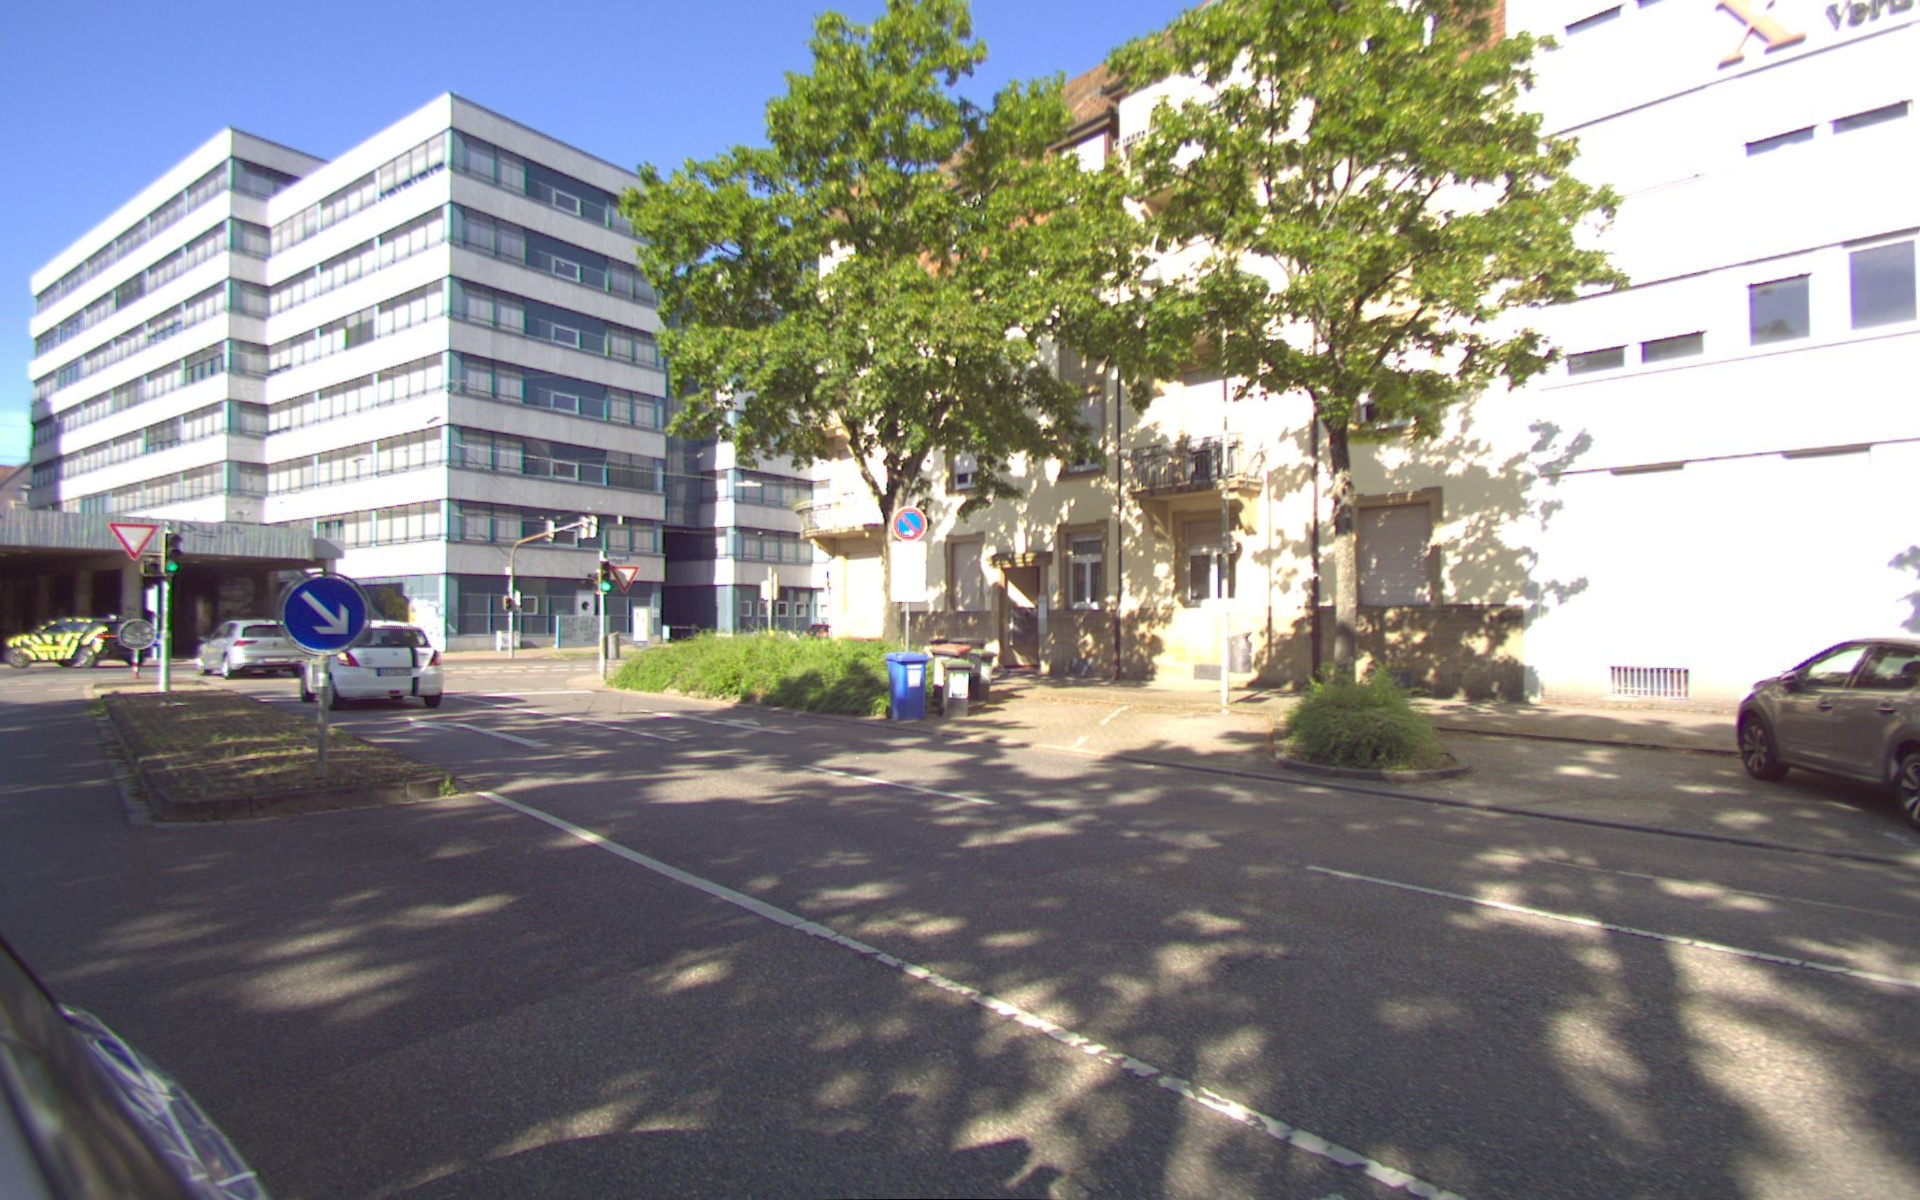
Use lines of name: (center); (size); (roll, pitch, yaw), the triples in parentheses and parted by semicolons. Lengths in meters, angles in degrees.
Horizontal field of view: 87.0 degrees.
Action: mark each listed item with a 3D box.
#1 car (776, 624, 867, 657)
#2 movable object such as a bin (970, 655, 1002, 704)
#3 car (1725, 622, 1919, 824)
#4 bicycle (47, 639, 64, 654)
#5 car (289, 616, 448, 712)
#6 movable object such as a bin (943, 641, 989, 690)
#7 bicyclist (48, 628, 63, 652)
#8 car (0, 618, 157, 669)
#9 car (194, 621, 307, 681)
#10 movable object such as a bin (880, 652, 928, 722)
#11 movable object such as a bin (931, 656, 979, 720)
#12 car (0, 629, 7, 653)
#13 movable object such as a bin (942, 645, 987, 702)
car: (-6.393, 1.897, 47.170); (1.803, 1.462, 4.274); (-1, -2, 35)
movable object such as a bin: (0.474, 1.452, 18.546); (0.398, 0.860, 0.440); (0, -1, -33)
car: (8.461, 0.960, 8.559); (1.811, 1.521, 3.867); (0, -1, 15)
bicycle: (-64.631, 3.308, 72.295); (1.856, 1.098, 0.521); (-2, -2, 36)
car: (-10.664, 1.107, 18.129); (1.684, 1.524, 3.868); (4, -4, -41)
movable object such as a bin: (0.130, 1.390, 21.753); (0.772, 1.007, 0.640); (0, -1, -33)
bicyclist: (-64.655, 2.858, 72.339); (0.908, 1.645, 0.600); (-2, -2, 36)
car: (-27.779, 1.359, 31.820); (4.073, 1.525, 1.787); (-1, -2, 12)
car: (-18.530, 1.292, 26.371); (3.851, 1.463, 1.689); (-2, -3, 44)
movable object such as a bin: (-0.891, 1.361, 16.067); (0.507, 1.055, 0.640); (0, -1, -33)
movable object such as a bin: (-0.083, 1.411, 16.421); (0.507, 0.983, 0.640); (0, -1, -33)
car: (-69.225, 2.892, 71.516); (4.138, 1.622, 1.868); (-1, -2, 35)
movable object such as a bin: (0.078, 1.251, 17.393); (0.507, 0.920, 0.640); (0, -1, -33)
